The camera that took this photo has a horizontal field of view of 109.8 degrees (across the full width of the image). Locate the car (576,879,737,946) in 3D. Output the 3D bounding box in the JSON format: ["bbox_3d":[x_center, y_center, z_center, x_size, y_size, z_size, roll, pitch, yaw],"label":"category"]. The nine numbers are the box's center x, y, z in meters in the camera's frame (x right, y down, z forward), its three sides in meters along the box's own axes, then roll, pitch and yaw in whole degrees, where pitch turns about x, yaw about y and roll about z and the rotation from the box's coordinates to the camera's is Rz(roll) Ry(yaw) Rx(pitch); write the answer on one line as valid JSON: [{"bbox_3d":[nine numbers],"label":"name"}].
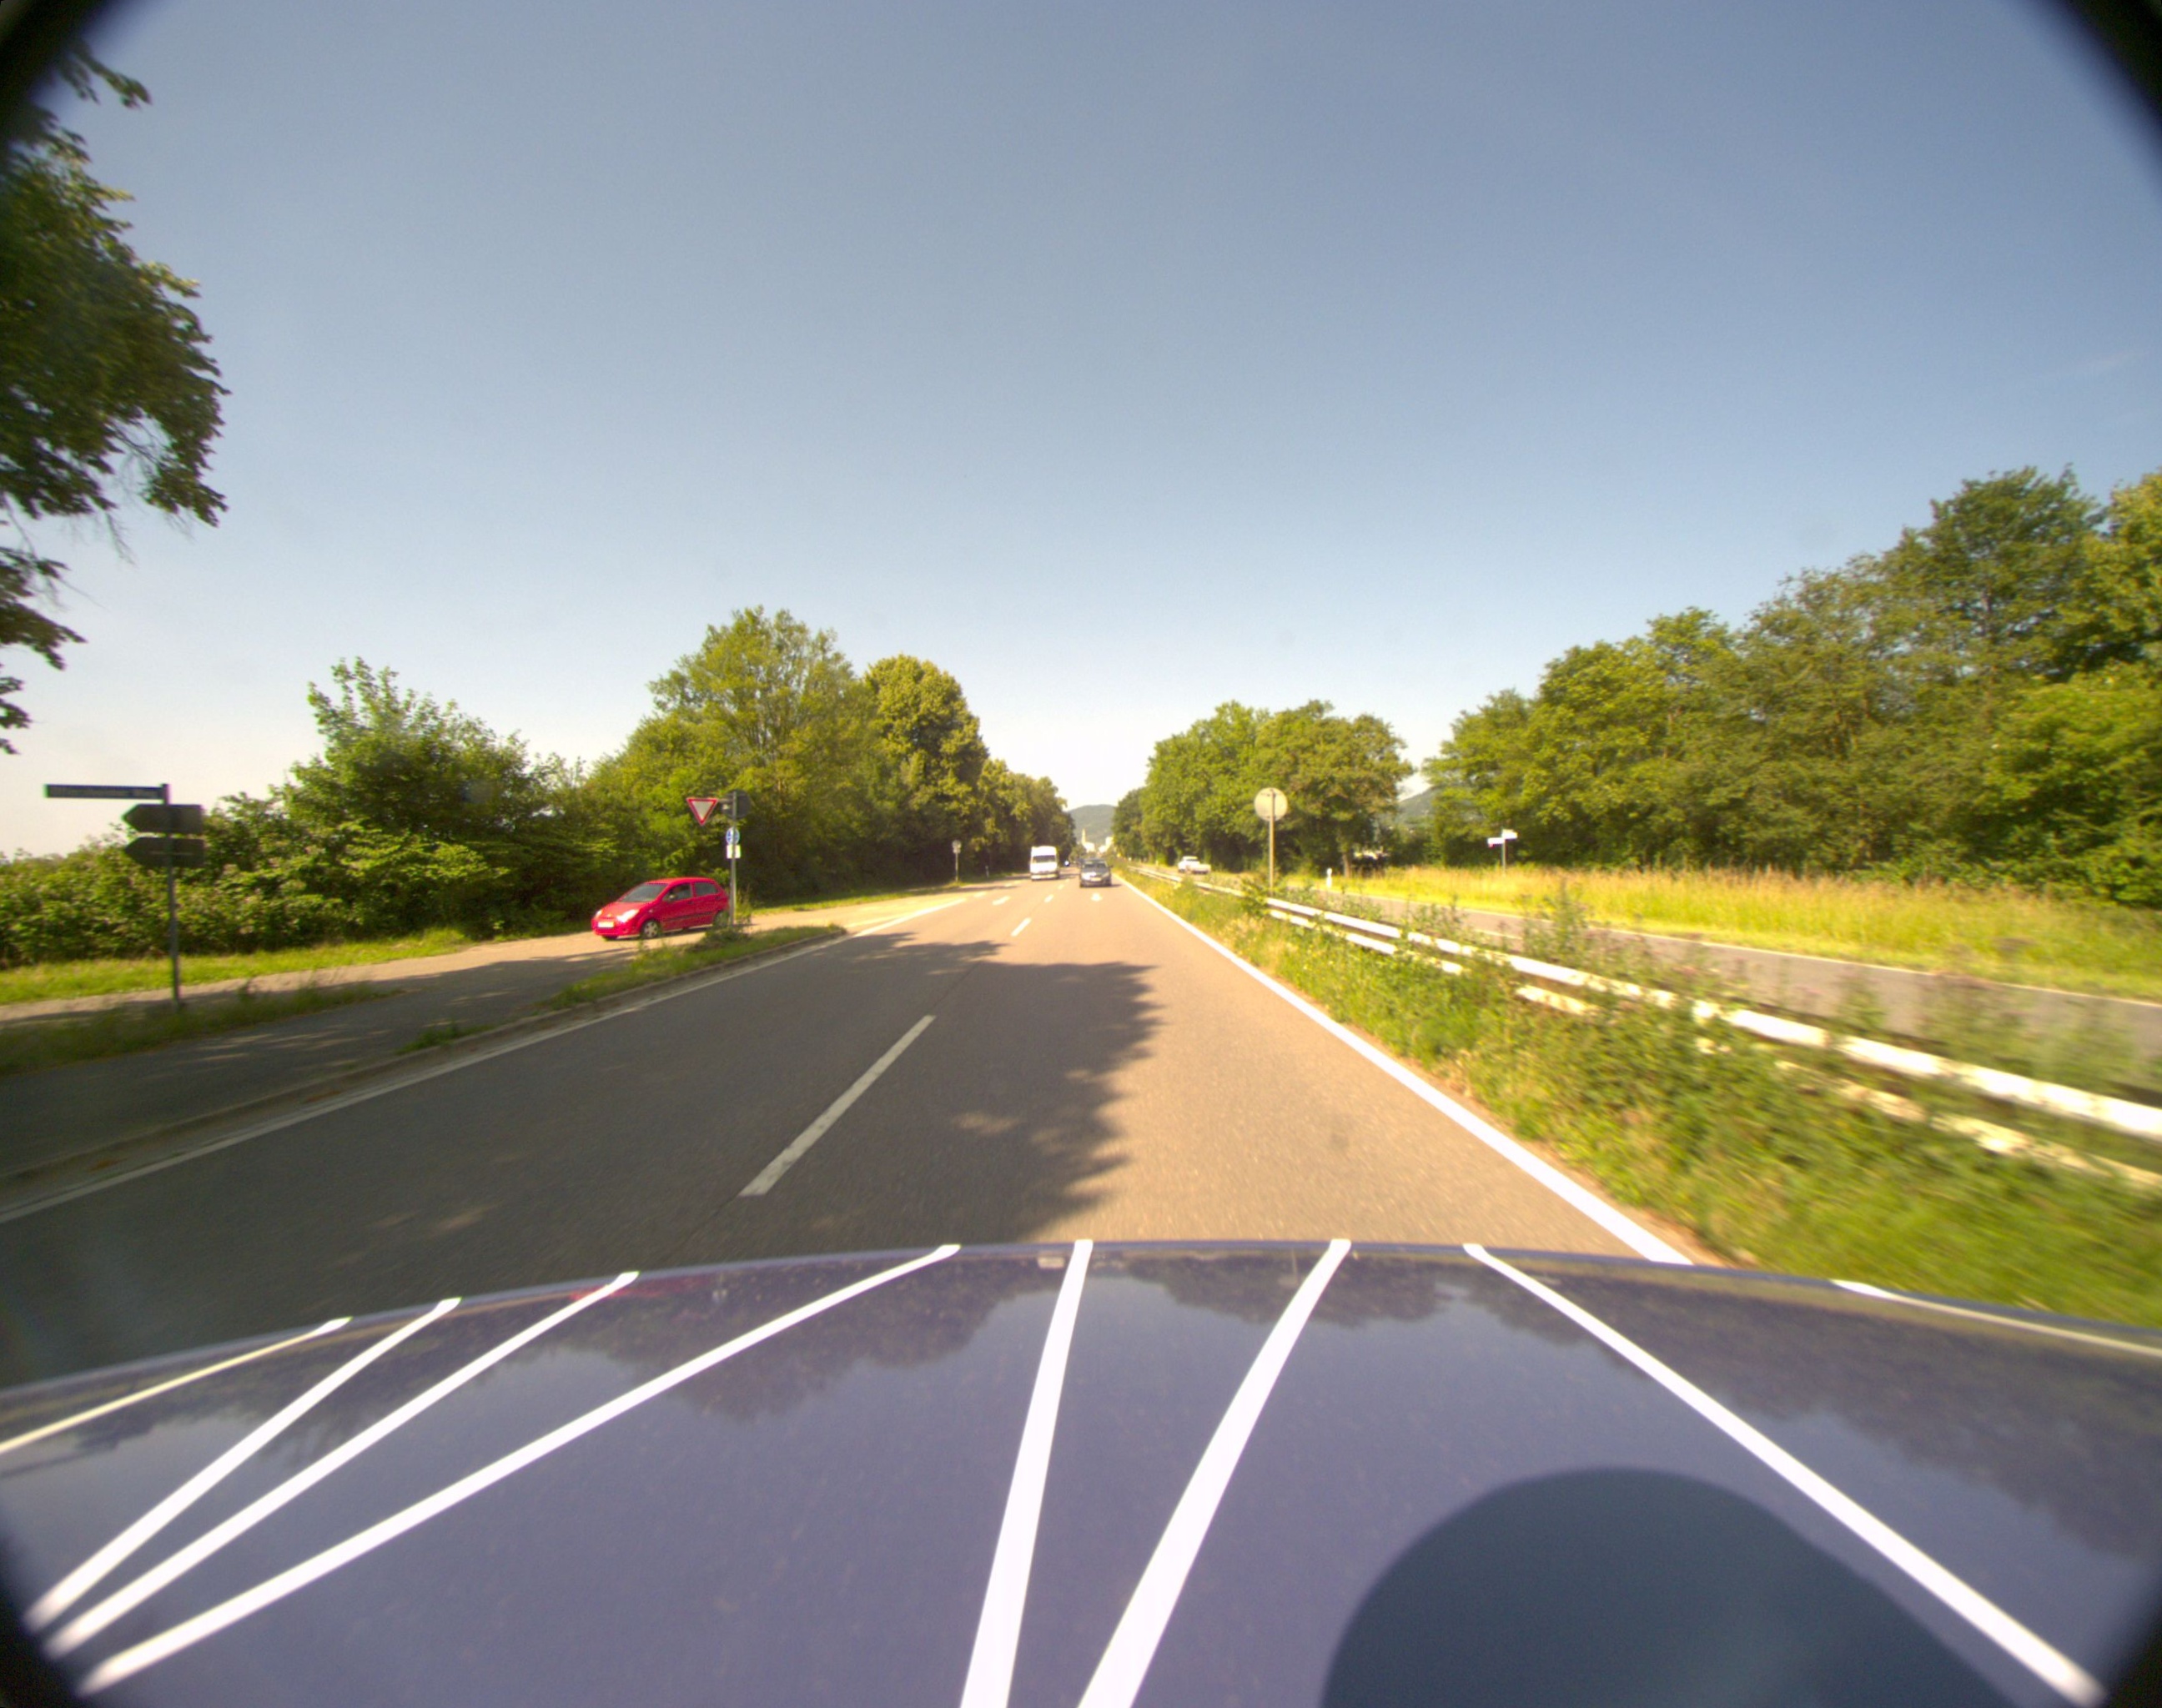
[{"bbox_3d":[-11.151,1.486,20.226,1.547,1.445,3.573,-2,1,19],"label":"car"}]

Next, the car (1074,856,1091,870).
[{"bbox_3d":[0.150,0.944,81.752,1.678,1.435,3.622,-2,1,1],"label":"car"}]

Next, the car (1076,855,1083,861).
[{"bbox_3d":[-0.364,1.129,199.867,1.825,1.591,4.000,-1,0,1],"label":"car"}]

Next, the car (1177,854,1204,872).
[{"bbox_3d":[11.030,0.887,76.685,1.998,1.690,4.813,2,0,1],"label":"car"}]

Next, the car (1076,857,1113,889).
[{"bbox_3d":[0.697,0.907,38.133,1.678,1.434,4.362,-2,0,1],"label":"car"}]

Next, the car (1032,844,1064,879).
[{"bbox_3d":[-2.449,0.502,56.903,1.998,2.432,5.088,-2,1,1],"label":"car"}]

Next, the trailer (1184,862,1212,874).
[{"bbox_3d":[10.922,1.278,71.467,1.968,0.955,5.598,1,0,2],"label":"trailer"}]
